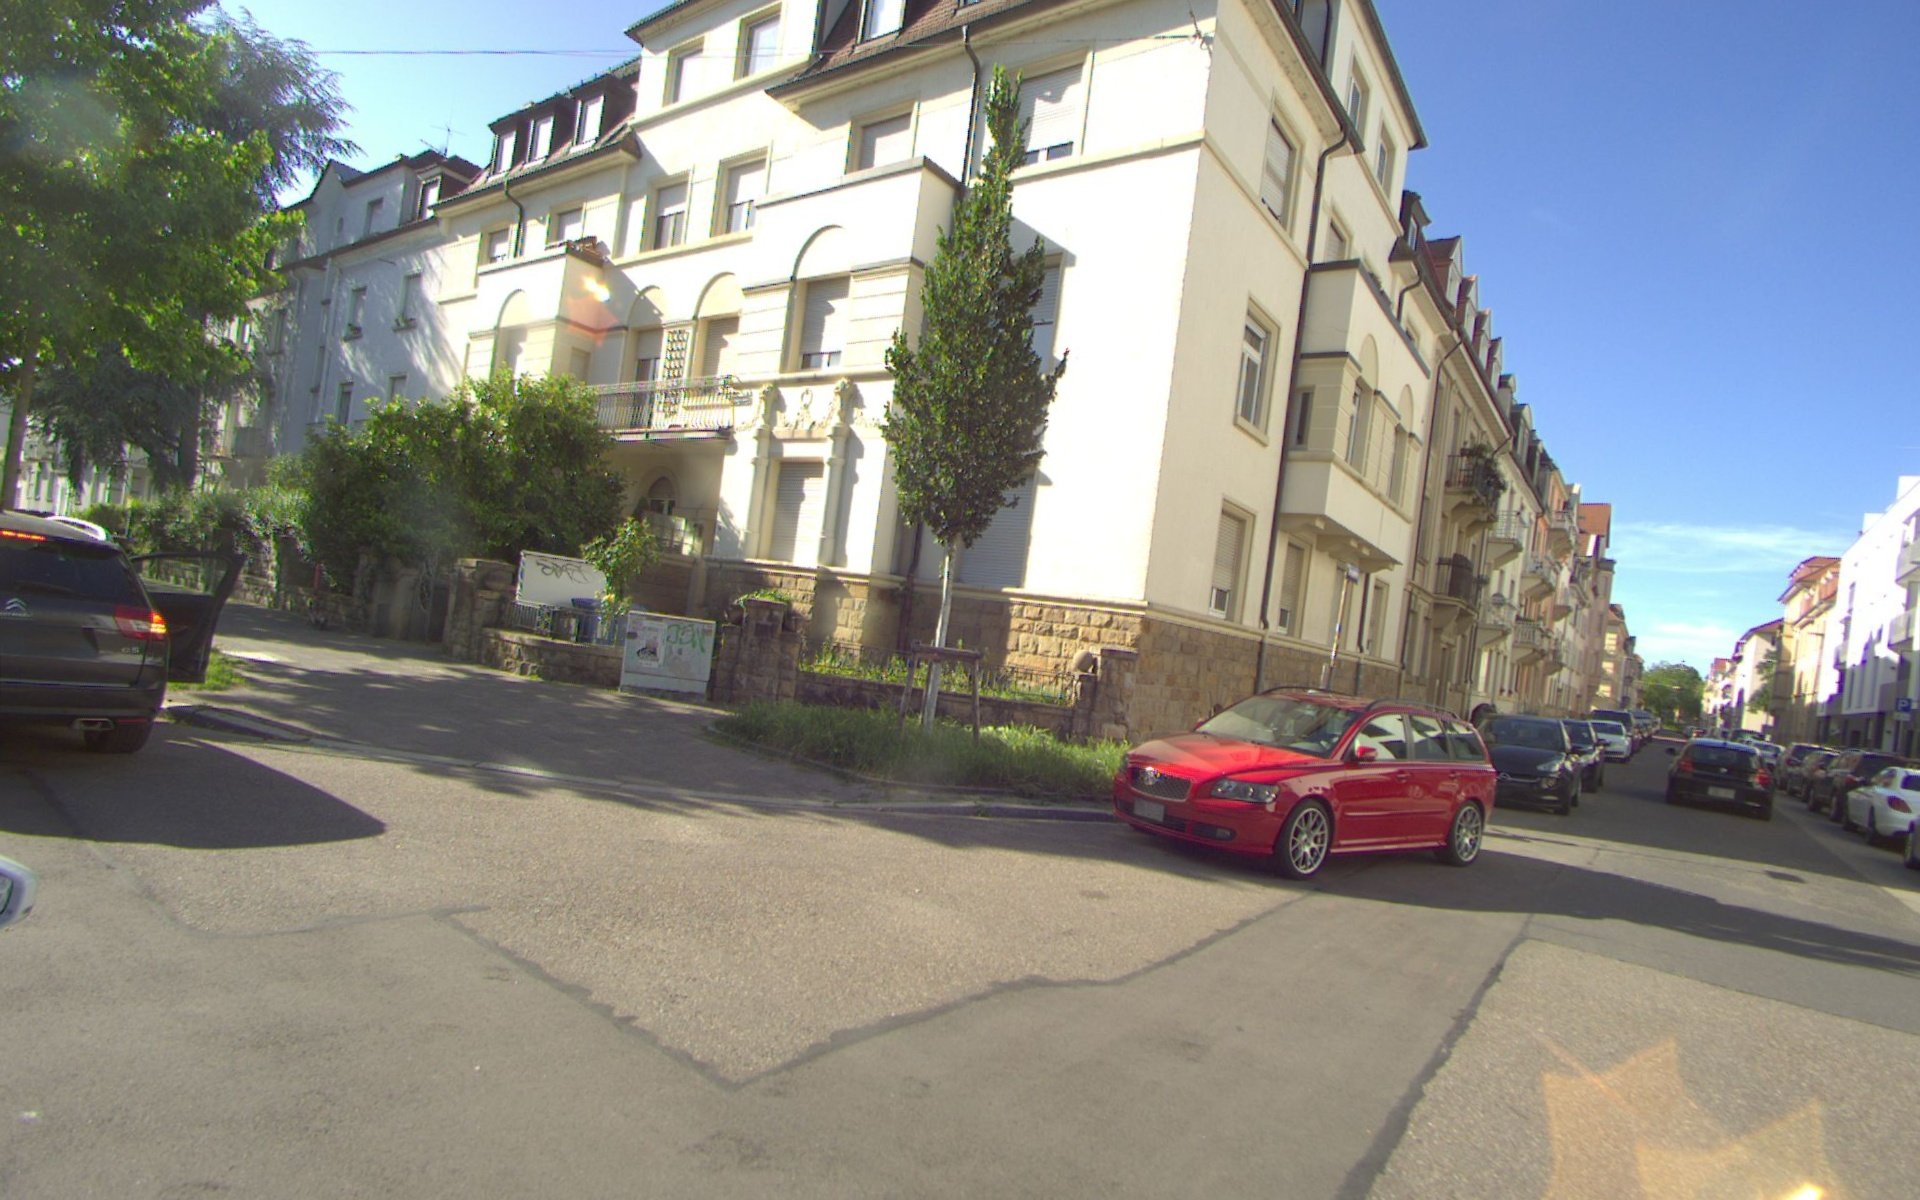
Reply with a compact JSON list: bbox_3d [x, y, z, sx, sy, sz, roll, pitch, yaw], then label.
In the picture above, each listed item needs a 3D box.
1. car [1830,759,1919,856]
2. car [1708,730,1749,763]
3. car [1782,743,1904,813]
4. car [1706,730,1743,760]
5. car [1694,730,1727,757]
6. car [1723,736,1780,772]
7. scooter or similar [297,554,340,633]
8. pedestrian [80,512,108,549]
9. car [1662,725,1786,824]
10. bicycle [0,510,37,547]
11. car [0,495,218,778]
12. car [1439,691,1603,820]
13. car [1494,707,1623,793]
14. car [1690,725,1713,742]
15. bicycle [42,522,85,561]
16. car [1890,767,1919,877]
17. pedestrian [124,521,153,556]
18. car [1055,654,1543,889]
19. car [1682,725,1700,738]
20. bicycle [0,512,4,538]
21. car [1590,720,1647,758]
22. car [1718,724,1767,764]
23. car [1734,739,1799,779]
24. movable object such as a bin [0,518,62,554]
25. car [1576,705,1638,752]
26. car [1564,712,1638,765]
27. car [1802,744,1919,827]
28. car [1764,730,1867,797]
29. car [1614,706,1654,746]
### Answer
[{"bbox_3d":[17.867,3.894,18.671,1.934,1.486,4.935,7,-3,35],"label":"car"},{"bbox_3d":[56.387,10.732,73.867,1.934,2.022,4.521,7,-3,35],"label":"car"},{"bbox_3d":[24.769,4.951,28.391,1.934,1.486,4.521,7,-3,35],"label":"car"},{"bbox_3d":[59.920,11.364,78.923,1.934,2.022,4.521,7,-3,35],"label":"car"},{"bbox_3d":[65.580,12.556,87.906,1.934,2.022,4.521,7,-3,35],"label":"car"},{"bbox_3d":[41.472,8.056,52.820,1.934,1.486,4.521,7,-3,35],"label":"car"},{"bbox_3d":[-10.714,-0.123,16.796,0.399,1.199,1.193,7,0,-37],"label":"scooter or similar"},{"bbox_3d":[-29.486,-2.364,34.250,0.745,1.155,0.509,6,-2,40],"label":"pedestrian"},{"bbox_3d":[15.874,3.539,21.000,1.761,1.542,3.987,7,-1,37],"label":"car"},{"bbox_3d":[-33.088,-2.521,35.110,1.969,1.128,0.804,6,-2,35],"label":"bicycle"},{"bbox_3d":[-7.194,0.020,6.924,4.892,1.541,1.897,5,-3,37],"label":"car"},{"bbox_3d":[9.618,2.549,17.069,1.806,1.660,4.173,7,-2,36],"label":"car"},{"bbox_3d":[13.629,3.364,22.758,1.800,1.486,4.929,6,-3,38],"label":"car"},{"bbox_3d":[96.375,17.367,130.781,1.967,1.878,3.995,6,-3,32],"label":"car"},{"bbox_3d":[-26.327,-1.734,29.537,1.876,0.987,0.581,6,0,40],"label":"bicycle"},{"bbox_3d":[14.070,3.200,13.281,1.931,1.446,4.930,9,-1,37],"label":"car"},{"bbox_3d":[-28.978,-2.169,35.469,0.744,1.155,0.510,6,-2,36],"label":"pedestrian"},{"bbox_3d":[3.301,1.535,9.295,4.697,1.486,1.933,9,-2,-38],"label":"car"},{"bbox_3d":[128.442,23.110,176.792,1.967,1.878,3.995,6,-3,32],"label":"car"},{"bbox_3d":[-36.616,-2.900,37.846,1.875,0.969,0.595,6,0,38],"label":"bicycle"},{"bbox_3d":[33.172,7.005,50.617,1.971,1.492,3.988,6,-3,39],"label":"car"},{"bbox_3d":[48.258,8.890,62.094,1.934,2.022,4.521,7,-3,35],"label":"car"},{"bbox_3d":[38.168,7.497,47.718,1.934,1.486,4.521,7,-3,35],"label":"car"},{"bbox_3d":[-29.175,-1.991,31.488,1.213,0.915,1.651,8,-1,-31],"label":"movable object such as a bin"},{"bbox_3d":[29.752,5.927,46.180,2.063,1.752,4.805,6,-3,35],"label":"car"},{"bbox_3d":[23.689,5.099,37.102,1.969,1.569,4.425,6,-3,35],"label":"car"},{"bbox_3d":[20.783,4.188,22.896,1.934,1.486,4.521,7,-3,35],"label":"car"},{"bbox_3d":[27.577,5.254,32.560,1.934,1.704,4.521,7,-3,35],"label":"car"},{"bbox_3d":[58.956,11.064,87.956,2.536,3.001,6.205,6,-3,35],"label":"car"}]
